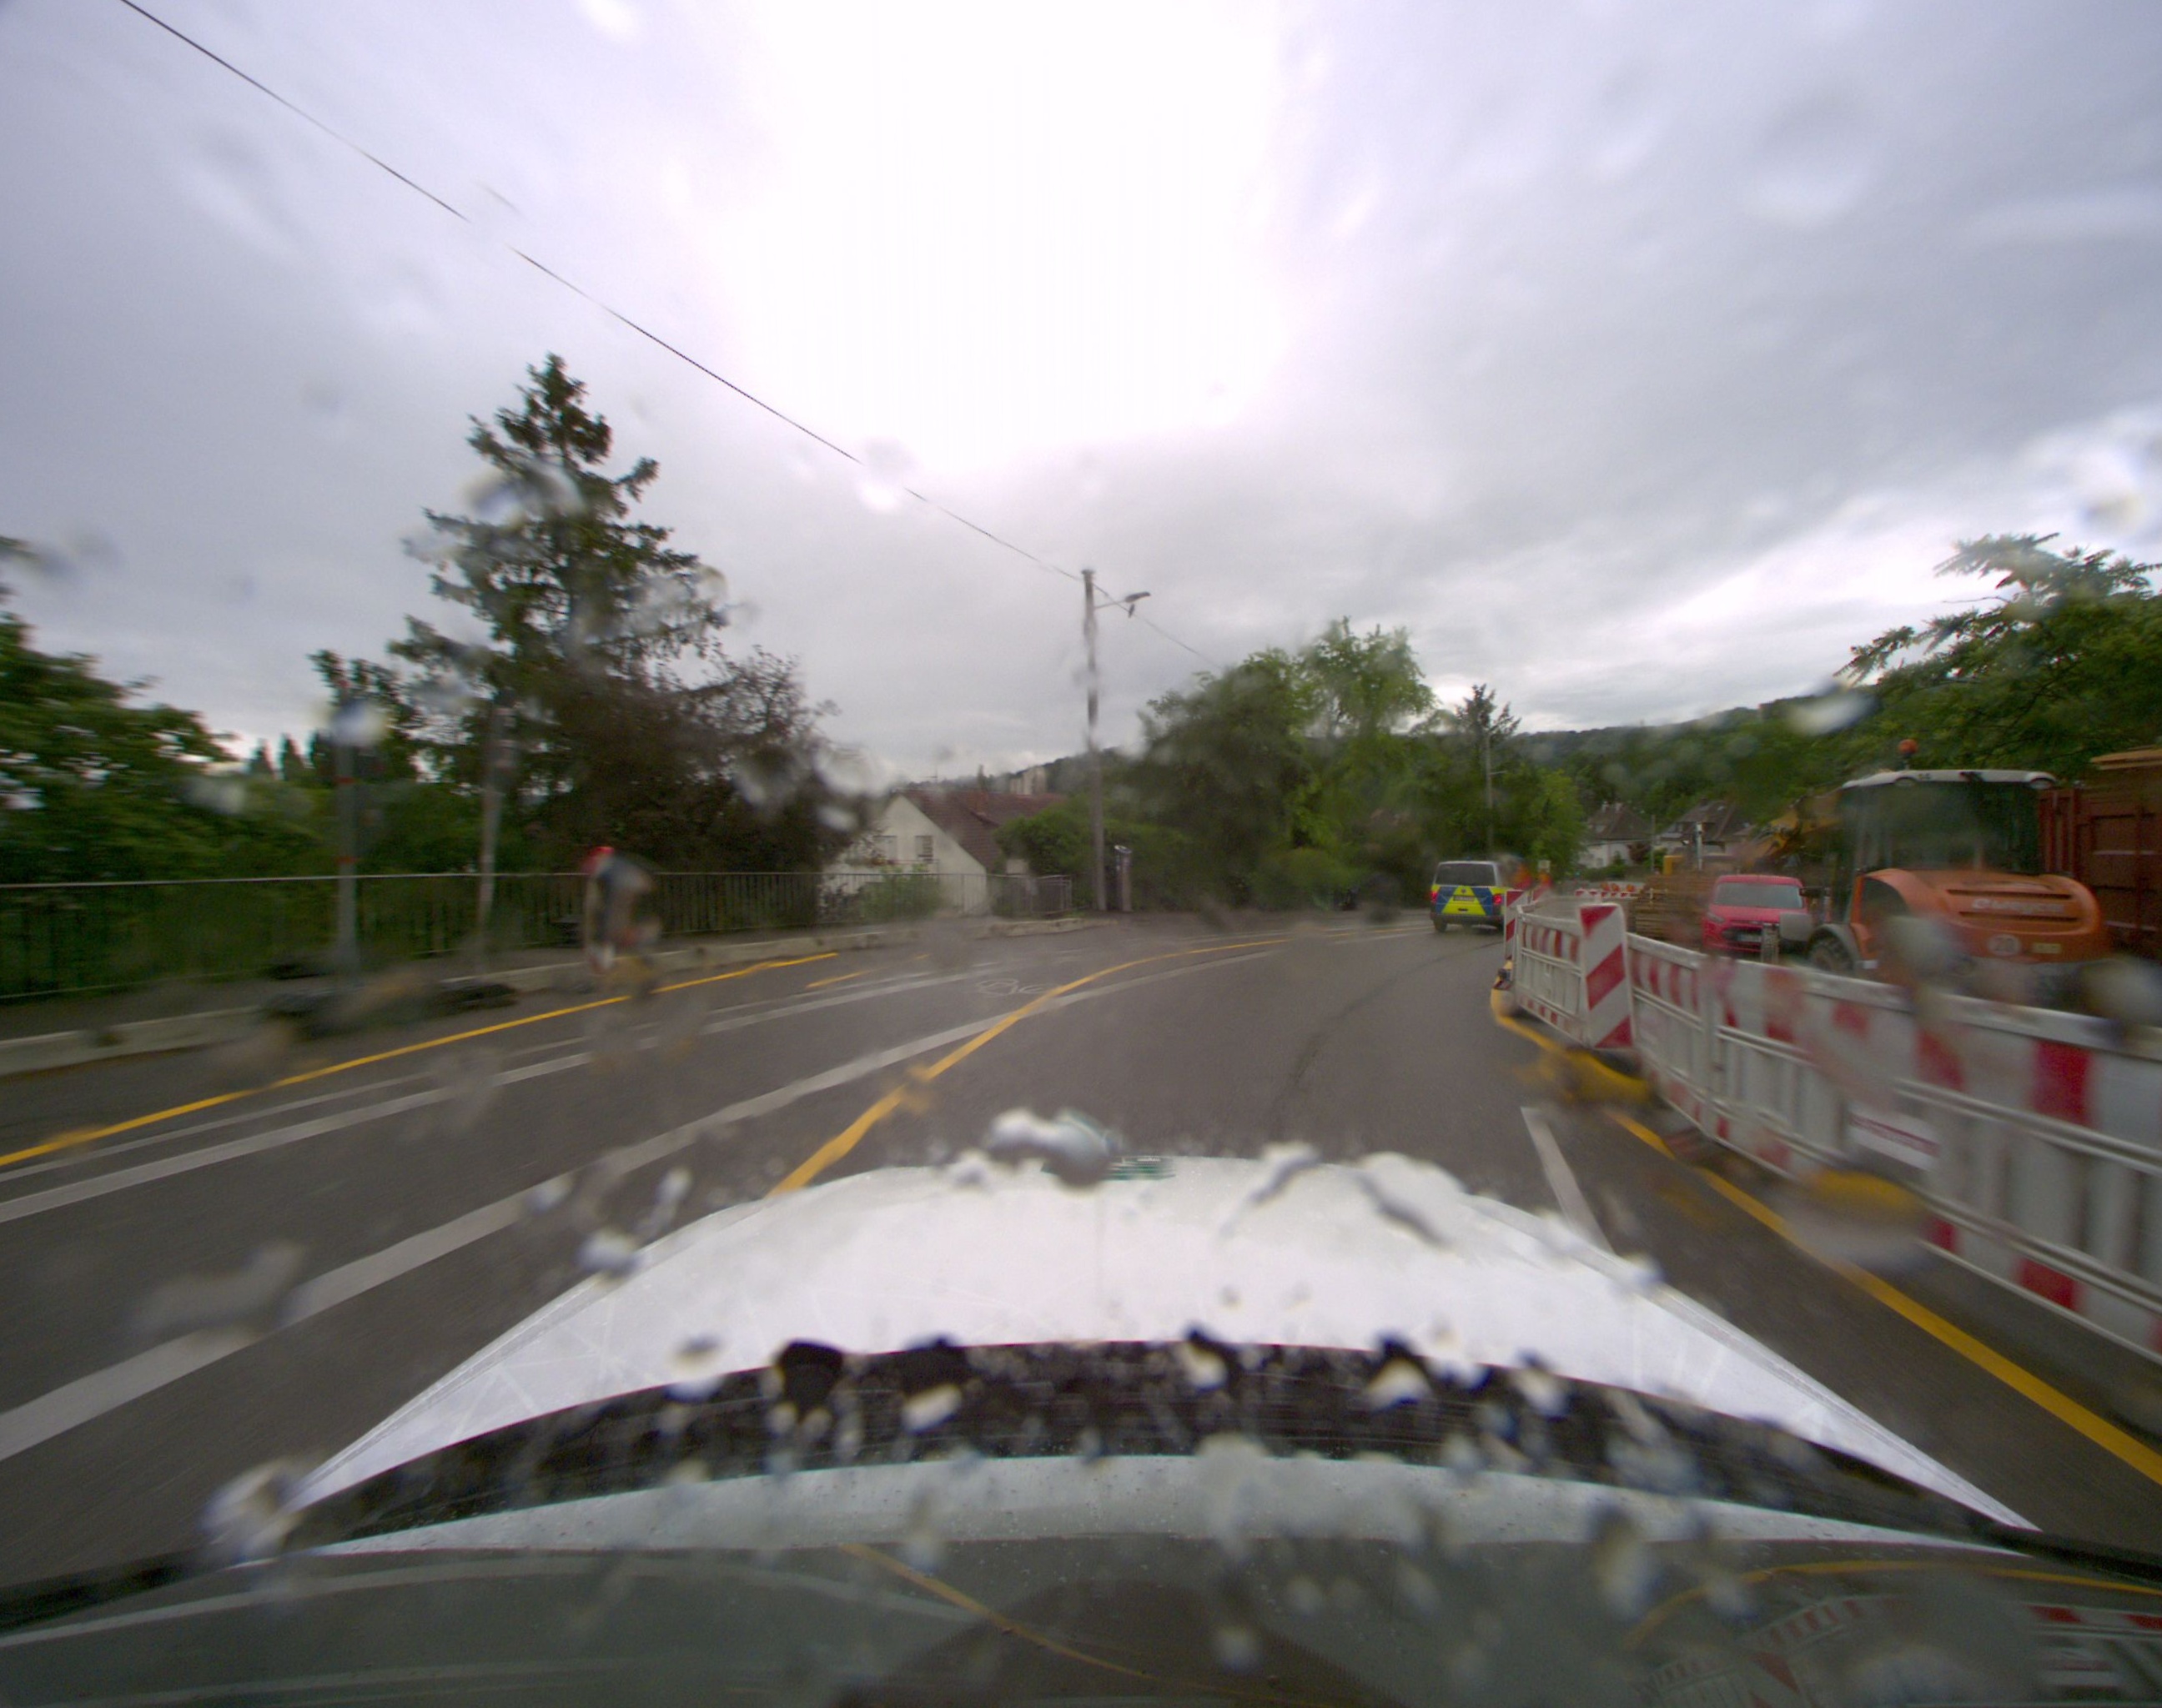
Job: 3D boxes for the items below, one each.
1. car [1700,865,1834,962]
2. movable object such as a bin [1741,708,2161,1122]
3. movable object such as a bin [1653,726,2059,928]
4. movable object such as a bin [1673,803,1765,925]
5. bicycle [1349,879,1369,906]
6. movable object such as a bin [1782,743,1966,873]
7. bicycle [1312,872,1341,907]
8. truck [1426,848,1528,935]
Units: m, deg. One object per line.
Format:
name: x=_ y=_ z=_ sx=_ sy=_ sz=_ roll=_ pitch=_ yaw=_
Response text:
car: x=14.816 y=1.165 z=17.642 sx=1.974 sy=1.779 sz=5.028 roll=0 pitch=-1 yaw=40
movable object such as a bin: x=9.065 y=0.274 z=9.003 sx=2.056 sy=3.225 sz=5.319 roll=1 pitch=5 yaw=32
movable object such as a bin: x=22.844 y=-0.390 z=25.485 sx=3.043 sy=4.920 sz=10.829 roll=2 pitch=-3 yaw=5
movable object such as a bin: x=18.843 y=0.403 z=24.196 sx=1.974 sy=3.306 sz=3.858 roll=0 pitch=-4 yaw=36
bicycle: x=11.779 y=1.624 z=34.526 sx=0.335 sy=1.108 sz=1.263 roll=0 pitch=-3 yaw=40
movable object such as a bin: x=43.699 y=-2.321 z=45.276 sx=6.882 sy=6.690 sz=3.064 roll=0 pitch=-2 yaw=36
bicycle: x=9.660 y=1.400 z=31.981 sx=0.416 sy=1.349 sz=1.753 roll=0 pitch=-3 yaw=40
truck: x=11.284 y=0.962 z=23.012 sx=1.974 sy=2.013 sz=4.765 roll=-2 pitch=2 yaw=32
